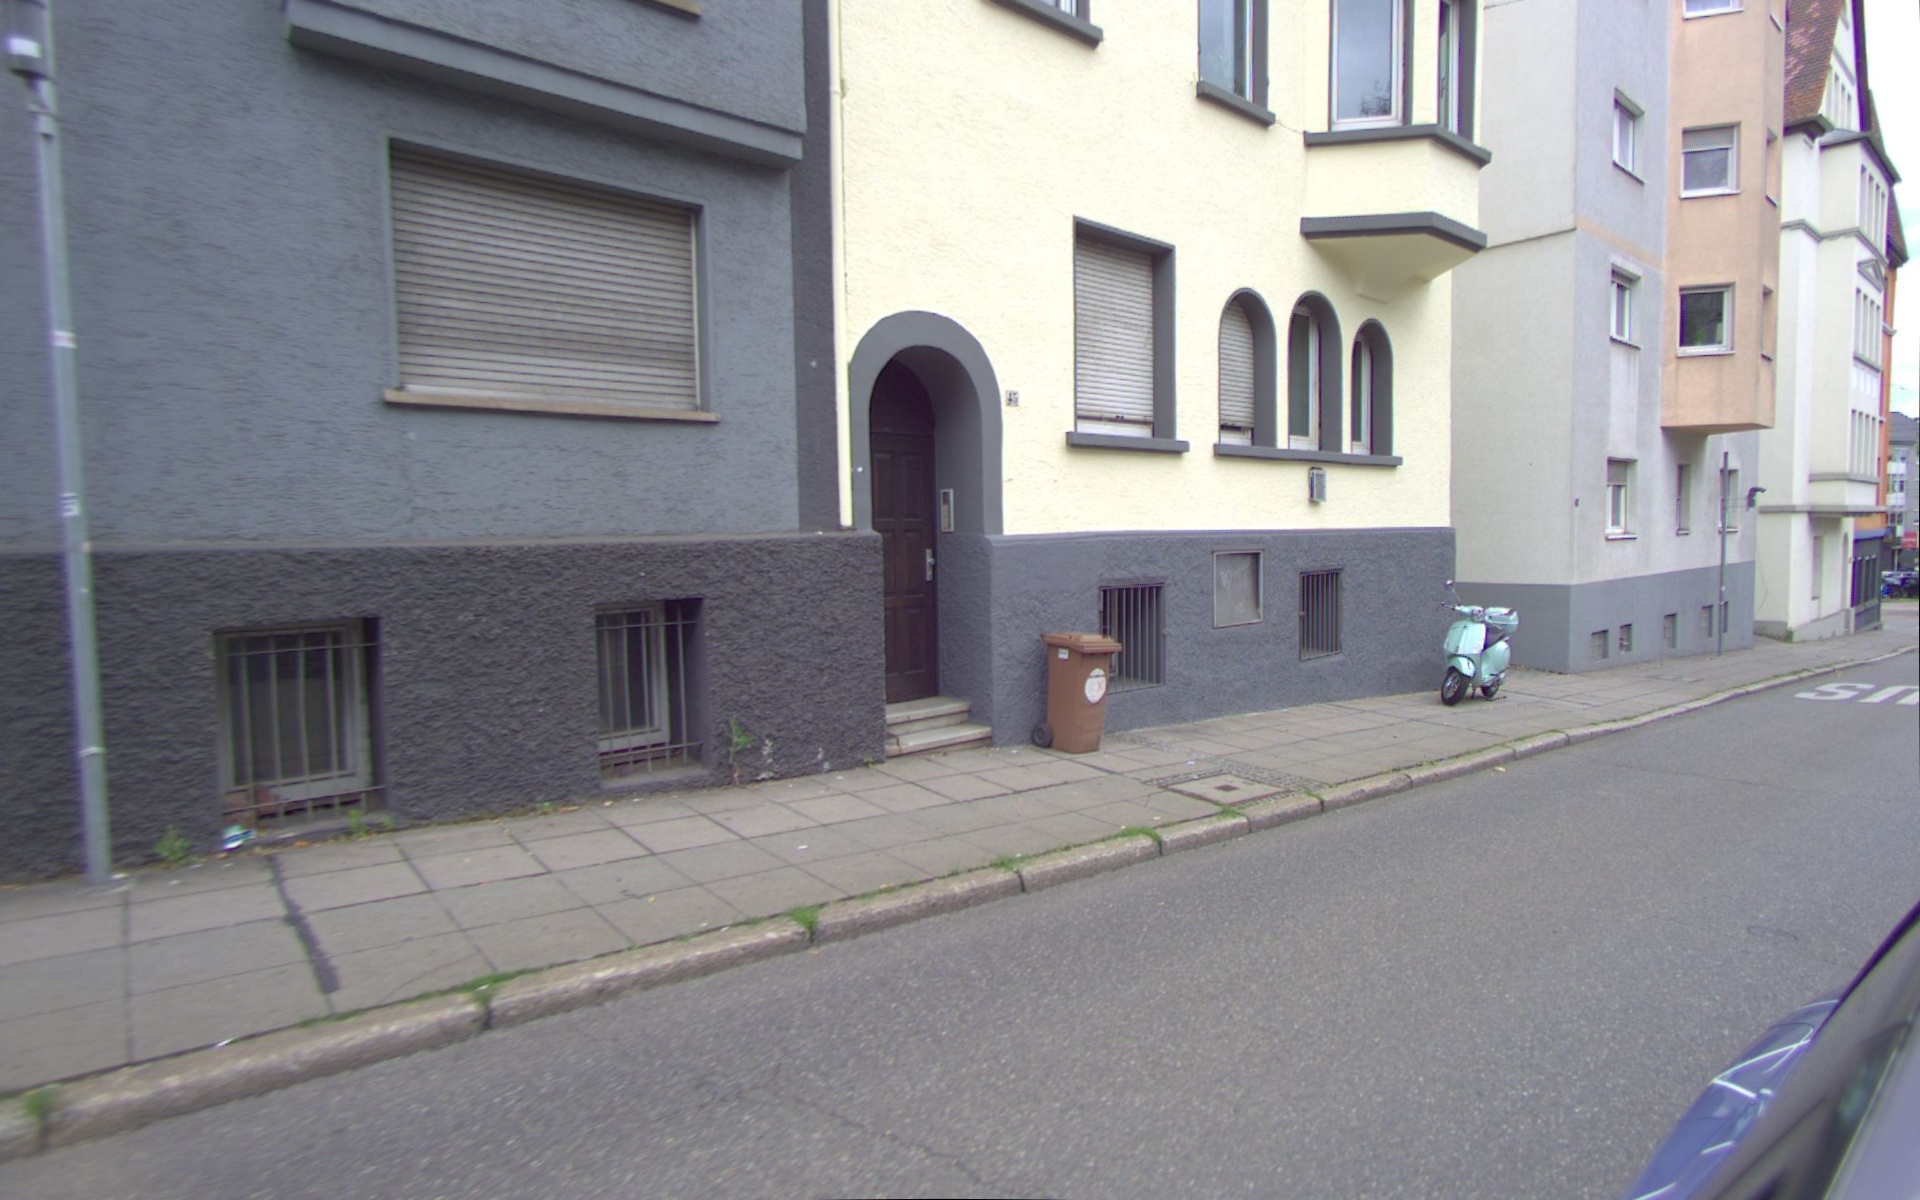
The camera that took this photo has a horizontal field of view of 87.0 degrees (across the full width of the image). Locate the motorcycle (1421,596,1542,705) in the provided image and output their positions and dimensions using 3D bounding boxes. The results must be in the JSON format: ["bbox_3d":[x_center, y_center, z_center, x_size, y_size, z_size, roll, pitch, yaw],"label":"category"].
[{"bbox_3d":[6.311,0.553,12.183,2.189,1.169,0.538,0,4,-44],"label":"motorcycle"}]

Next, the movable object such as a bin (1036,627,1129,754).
[{"bbox_3d":[0.969,0.696,8.010,0.508,0.902,0.476,0,4,-41],"label":"movable object such as a bin"}]

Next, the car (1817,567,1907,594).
[{"bbox_3d":[61.426,-1.358,68.981,1.796,1.596,4.258,0,4,-39],"label":"car"}]

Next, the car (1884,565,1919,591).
[{"bbox_3d":[70.260,-1.542,73.799,4.084,1.625,1.835,2,8,-7],"label":"car"}]
